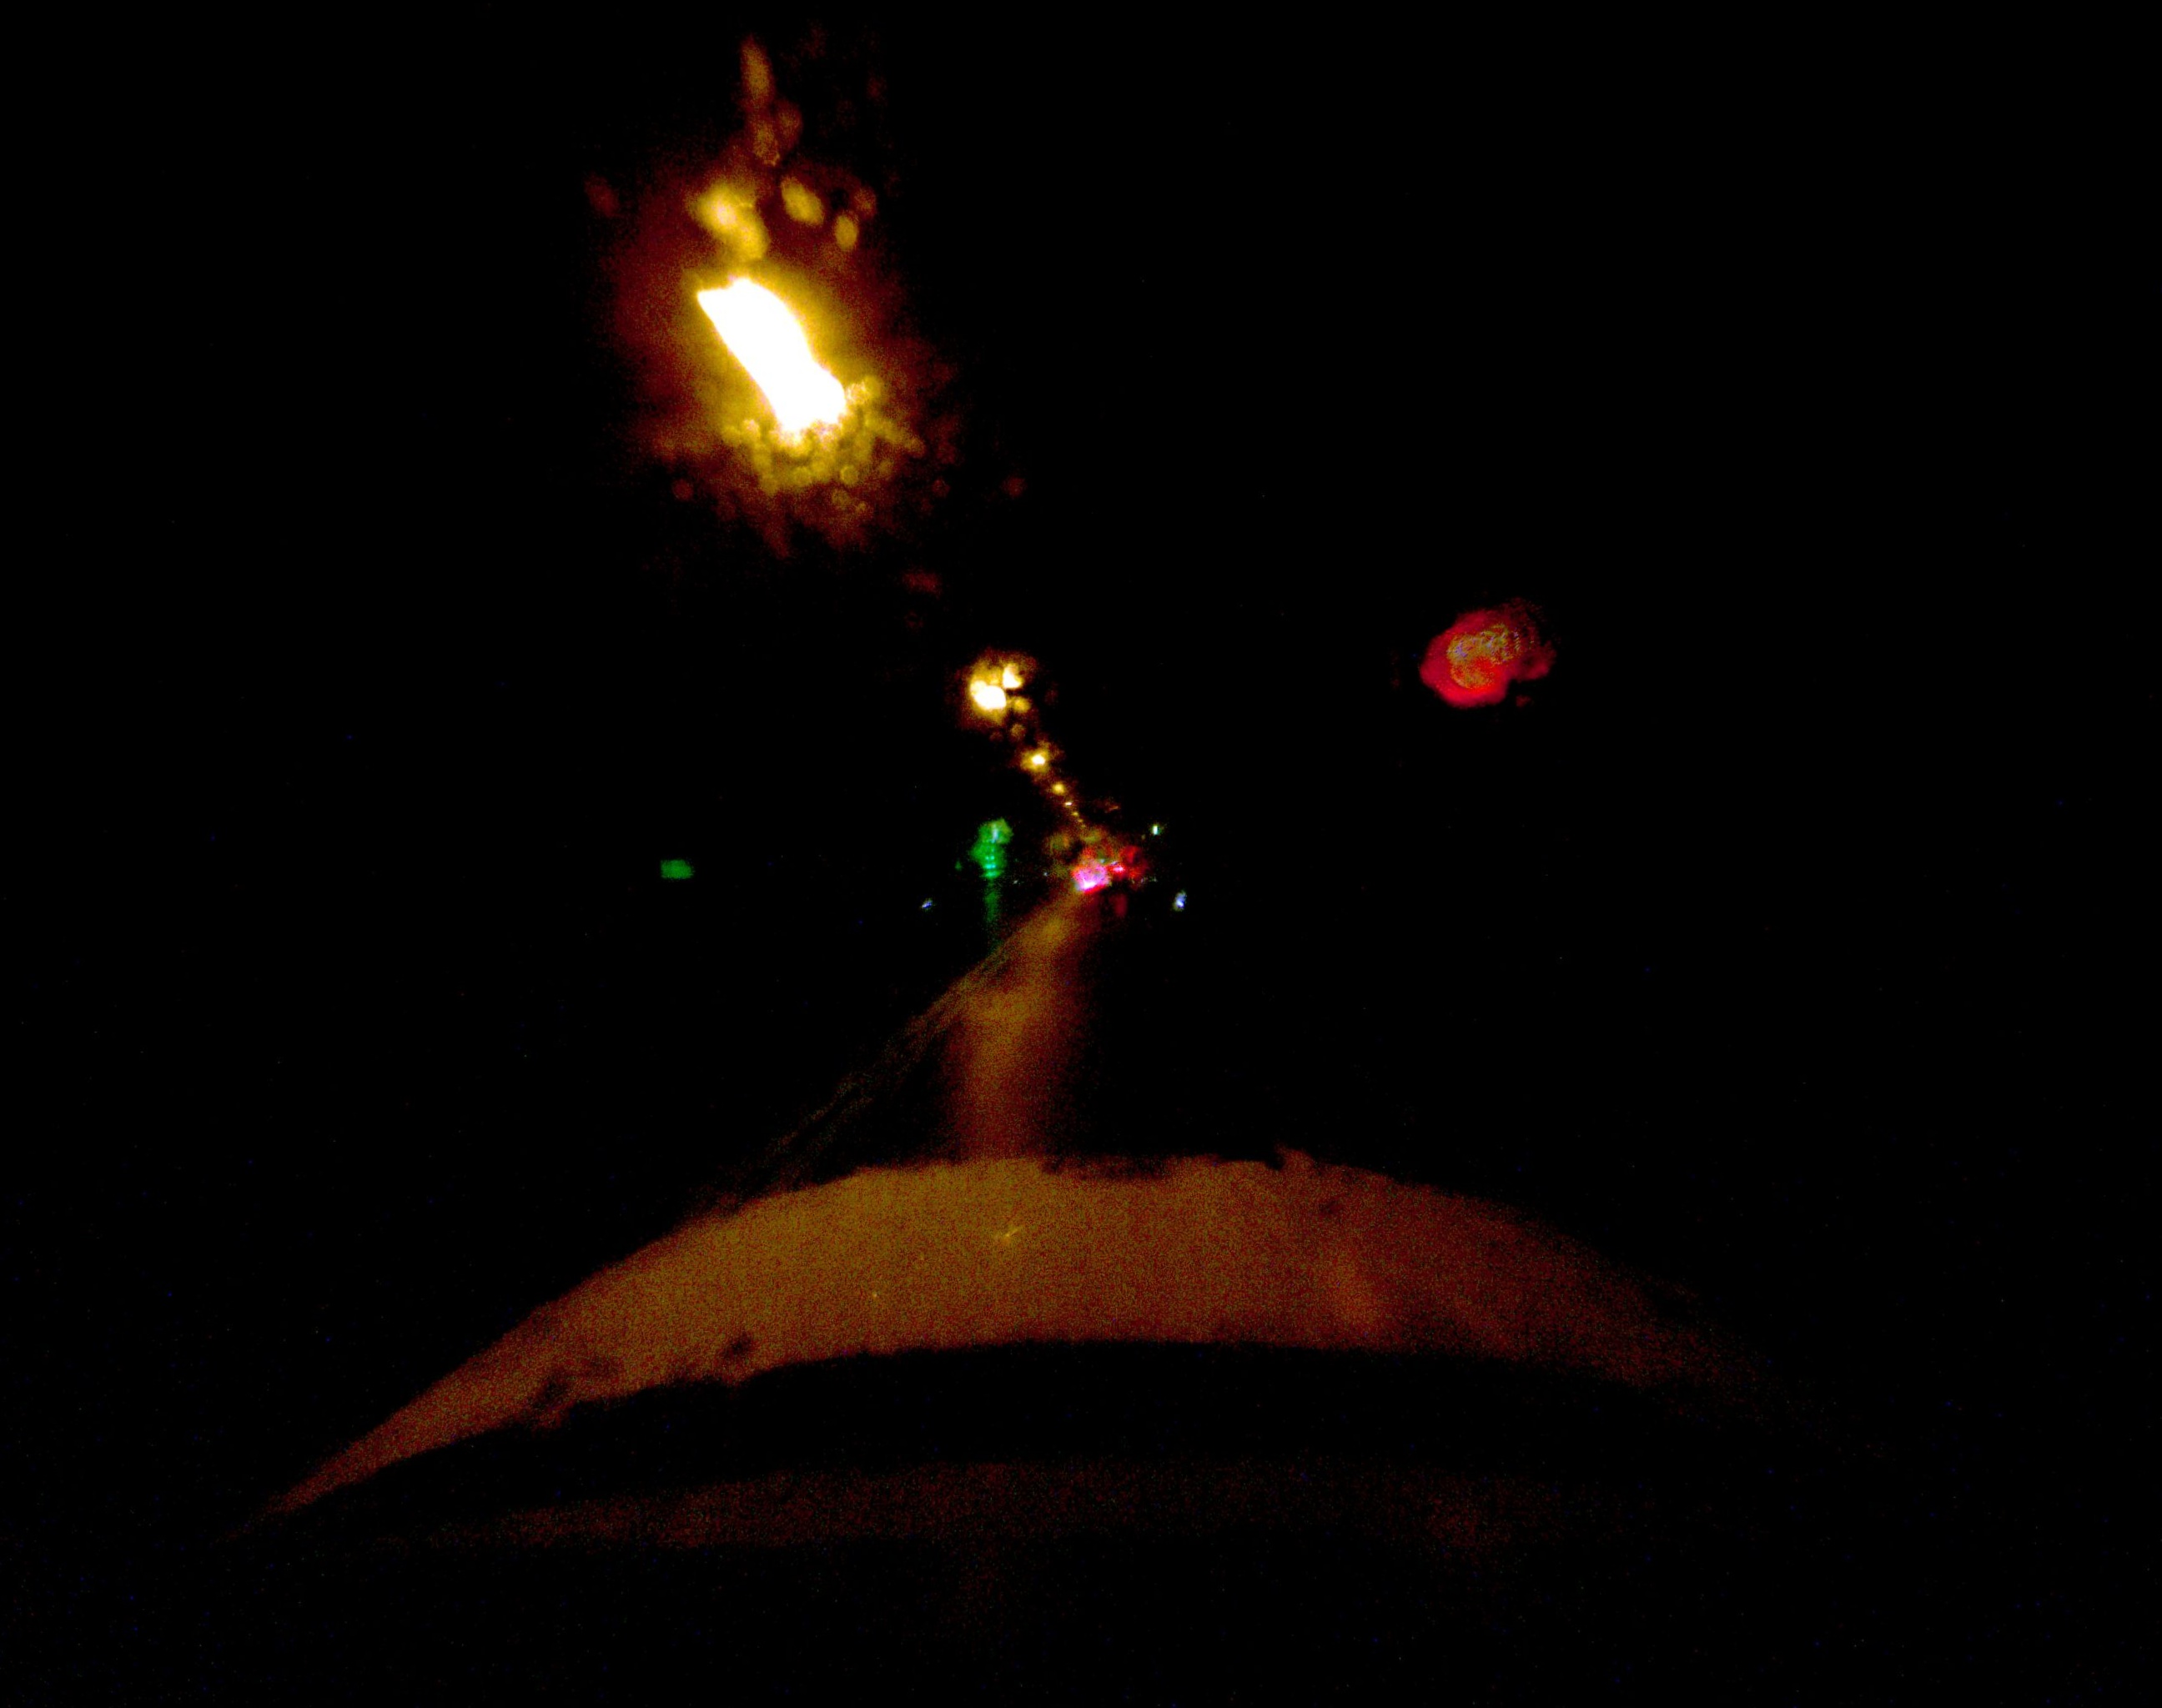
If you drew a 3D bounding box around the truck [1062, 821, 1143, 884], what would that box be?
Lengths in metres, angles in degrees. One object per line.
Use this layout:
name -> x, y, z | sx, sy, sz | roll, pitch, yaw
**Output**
truck -> 1.113, -0.034, 40.844 | 3.521, 2.693, 8.960 | -2, 0, 2
